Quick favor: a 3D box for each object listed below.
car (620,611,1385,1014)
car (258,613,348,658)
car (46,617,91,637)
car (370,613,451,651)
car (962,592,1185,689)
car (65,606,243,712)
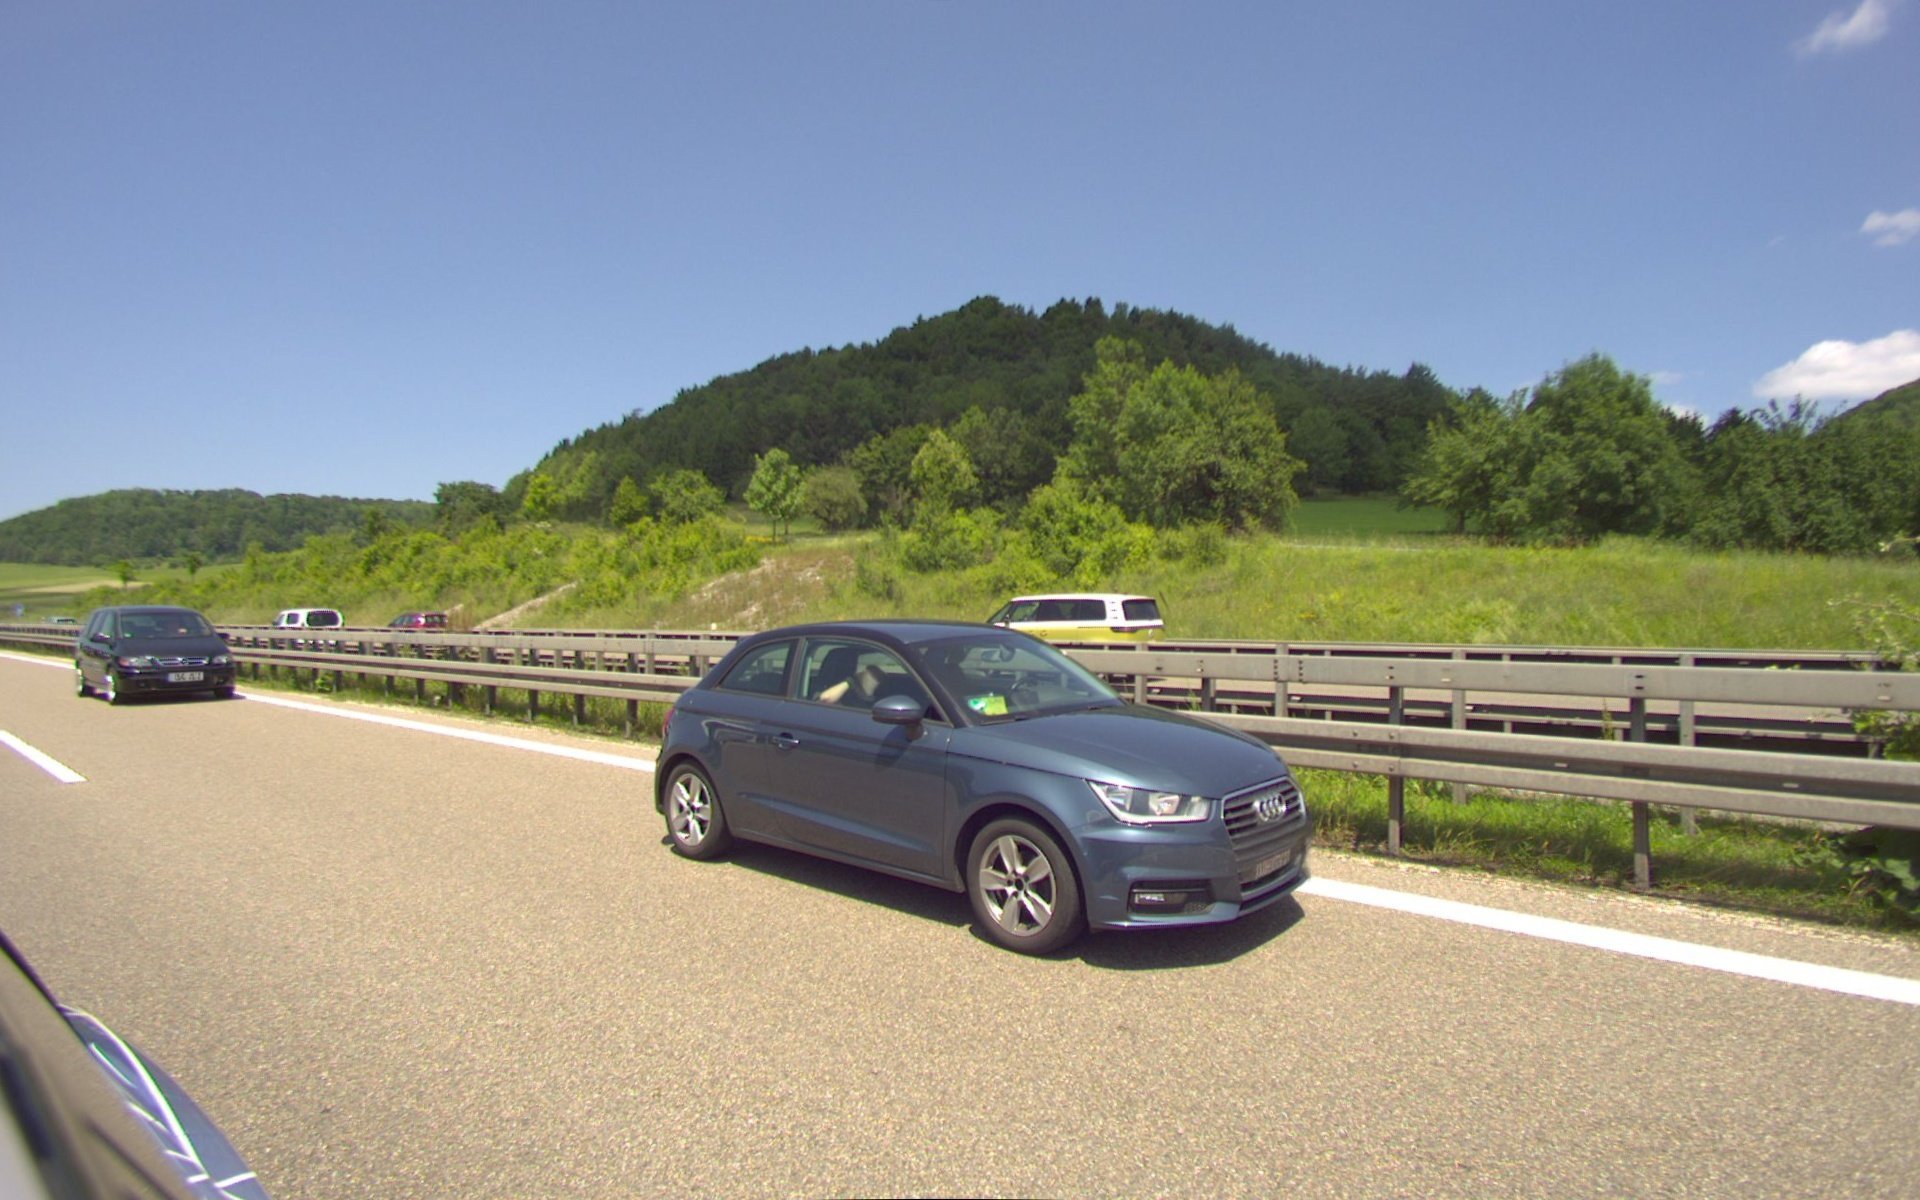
[{"bbox_3d":[-0.032,0.775,5.491,3.998,1.399,1.671,-1,-1,41],"label":"car"},{"bbox_3d":[-28.922,1.511,44.460,5.224,1.853,1.973,-1,-1,41],"label":"car"},{"bbox_3d":[-68.338,2.067,77.554,4.524,1.466,1.973,-1,-1,41],"label":"car"},{"bbox_3d":[-25.253,1.428,46.470,4.542,1.657,1.806,-1,-1,41],"label":"car"},{"bbox_3d":[2.460,0.860,22.748,4.658,1.956,2.038,-1,-1,41],"label":"car"},{"bbox_3d":[-14.300,0.956,17.858,4.445,1.647,1.781,-1,-1,42],"label":"car"}]
